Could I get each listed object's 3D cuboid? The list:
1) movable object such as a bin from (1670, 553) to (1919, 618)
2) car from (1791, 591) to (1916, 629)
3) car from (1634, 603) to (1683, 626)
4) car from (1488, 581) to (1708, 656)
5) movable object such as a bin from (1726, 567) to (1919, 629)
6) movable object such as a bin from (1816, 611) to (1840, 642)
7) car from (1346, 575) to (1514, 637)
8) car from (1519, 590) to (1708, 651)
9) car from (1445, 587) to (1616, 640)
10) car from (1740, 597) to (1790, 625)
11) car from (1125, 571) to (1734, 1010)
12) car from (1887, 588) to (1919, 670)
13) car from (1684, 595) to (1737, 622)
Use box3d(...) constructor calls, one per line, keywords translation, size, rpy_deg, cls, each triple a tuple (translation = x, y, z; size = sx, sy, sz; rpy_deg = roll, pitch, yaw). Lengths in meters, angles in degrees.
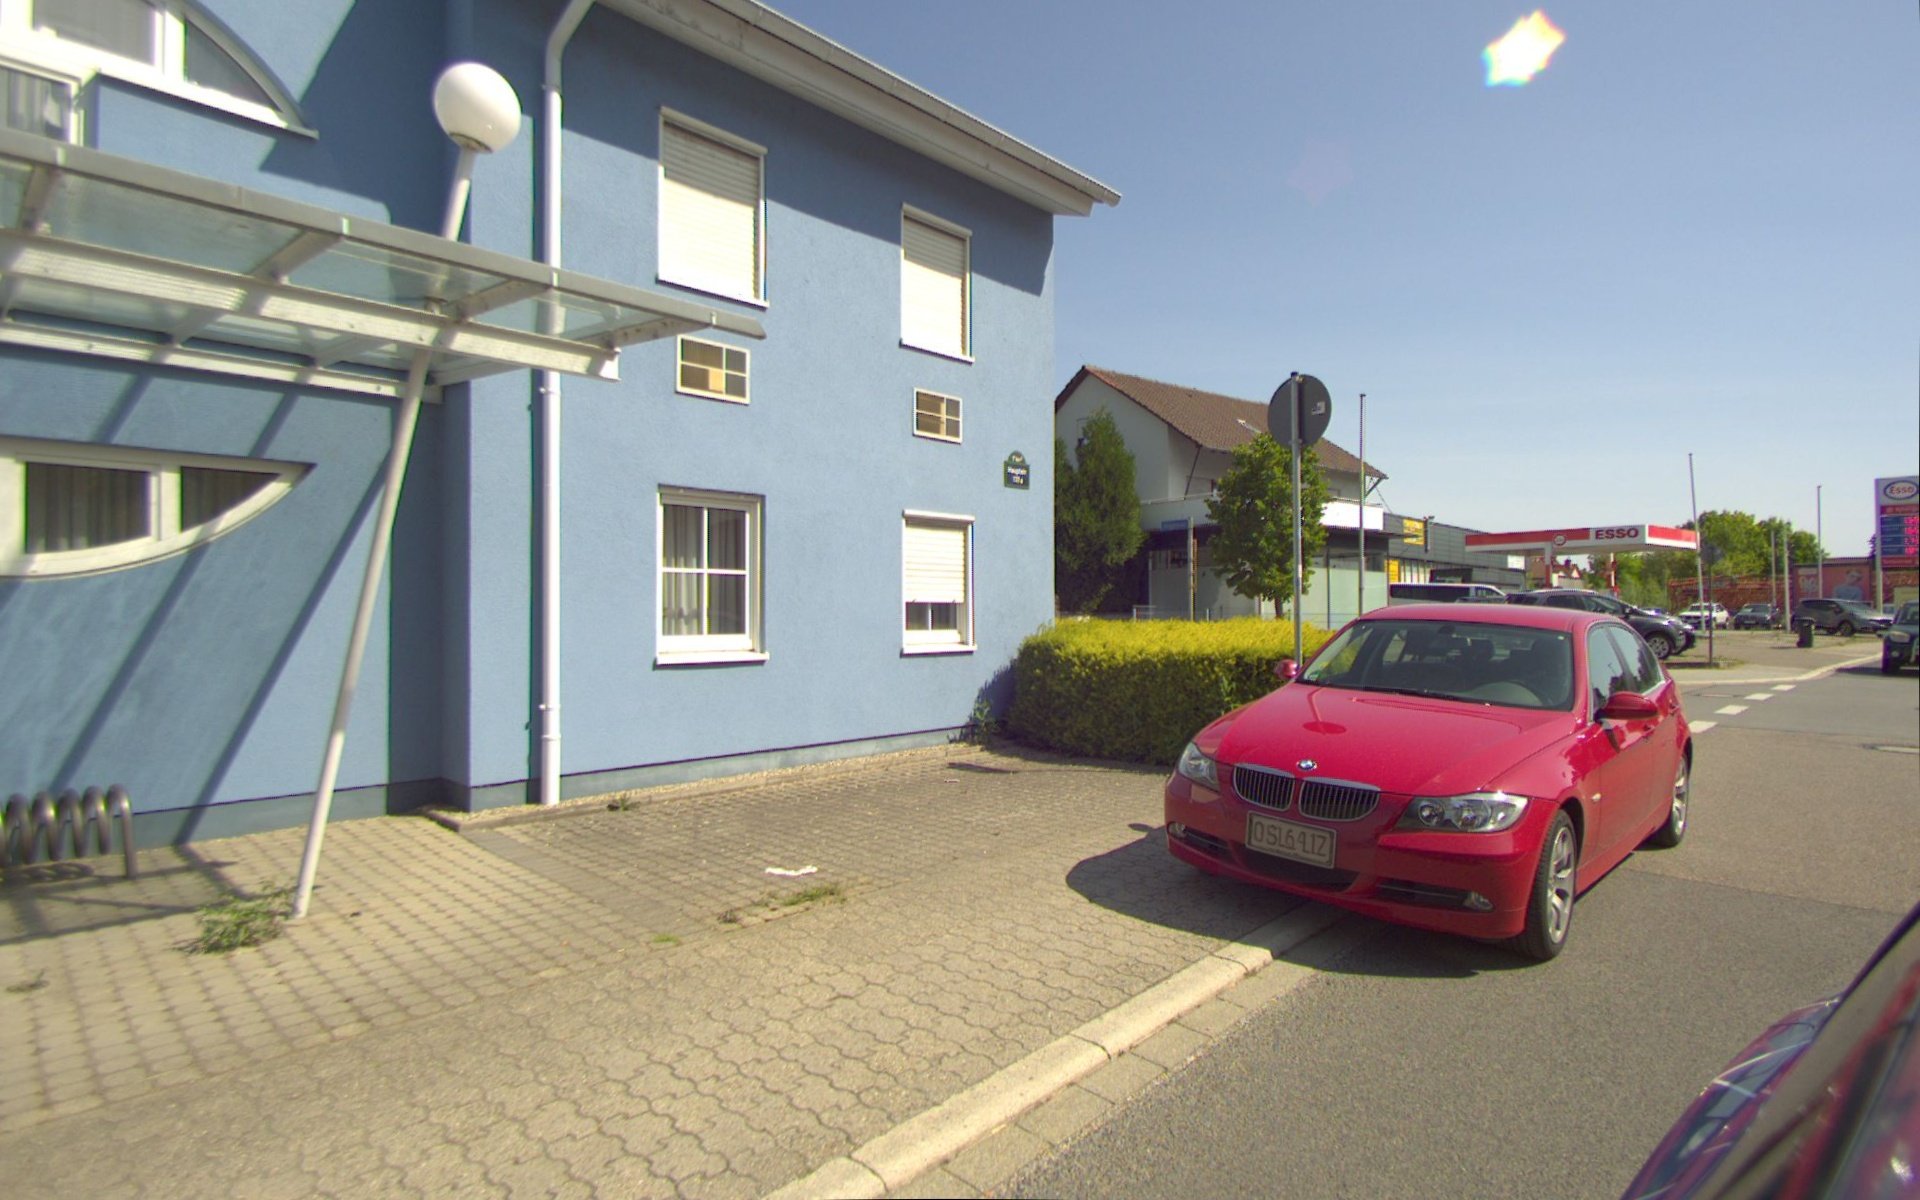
box3d(translation=(57.230, -0.888, 67.545), size=(2.722, 4.069, 16.092), rpy_deg=(1, 0, -37), cls="movable object such as a bin")
box3d(translation=(38.637, 0.400, 43.895), size=(1.741, 1.575, 4.180), rpy_deg=(0, 0, 1), cls="car")
box3d(translation=(45.277, 0.928, 65.569), size=(3.933, 1.404, 1.843), rpy_deg=(0, 0, -44), cls="car")
box3d(translation=(15.081, 0.407, 24.156), size=(4.056, 1.674, 1.822), rpy_deg=(0, 0, 16), cls="car")
box3d(translation=(63.621, -0.142, 72.885), size=(2.810, 4.218, 13.287), rpy_deg=(1, 0, -37), cls="movable object such as a bin")
box3d(translation=(27.383, 0.821, 31.917), size=(0.557, 0.948, 0.507), rpy_deg=(0, -1, 43), cls="movable object such as a bin")
box3d(translation=(16.539, 0.183, 35.780), size=(5.234, 2.039, 2.211), rpy_deg=(0, 0, 27), cls="car")
box3d(translation=(16.883, 0.499, 26.378), size=(3.826, 1.465, 1.739), rpy_deg=(0, 0, 21), cls="car")
box3d(translation=(17.547, 0.390, 31.377), size=(4.257, 1.570, 1.974), rpy_deg=(0, 0, 17), cls="car")
box3d(translation=(49.141, 0.643, 61.772), size=(4.037, 1.612, 1.843), rpy_deg=(0, 0, -44), cls="car")
box3d(translation=(2.892, 0.606, 5.660), size=(1.733, 1.513, 4.285), rpy_deg=(1, 2, 45), cls="car")
box3d(translation=(22.134, 0.688, 22.610), size=(4.326, 1.717, 1.846), rpy_deg=(2, 1, -45), cls="car")
box3d(translation=(47.453, 0.505, 63.931), size=(4.266, 1.612, 2.000), rpy_deg=(0, 0, -44), cls="car")
